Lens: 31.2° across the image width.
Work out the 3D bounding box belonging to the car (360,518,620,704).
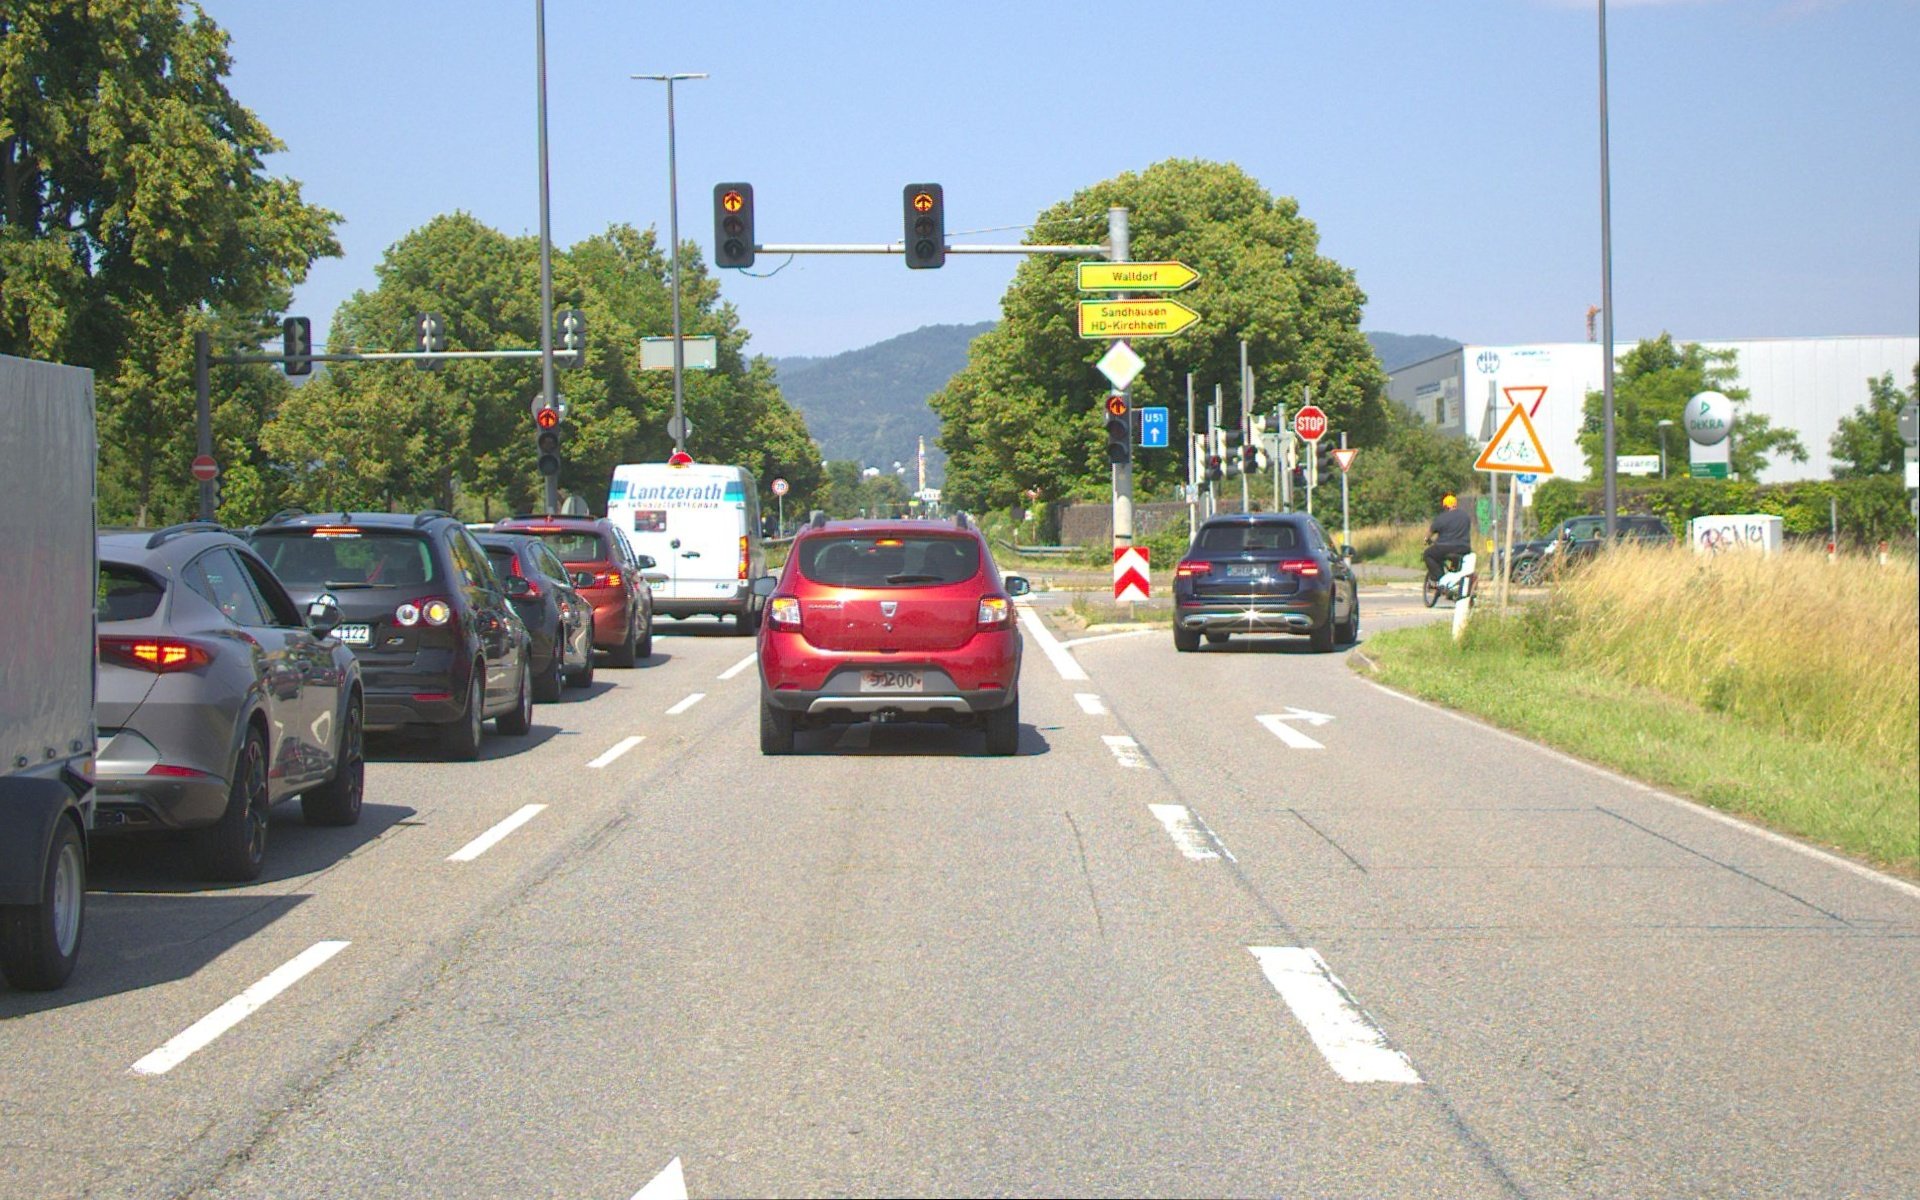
[{"bbox_3d":[-4.064,0.043,30.257,1.702,1.437,3.956,1,2,0],"label":"car"}]

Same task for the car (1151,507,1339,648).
[{"bbox_3d":[3.383,-0.310,41.526,1.993,1.611,4.339,0,1,1],"label":"car"}]

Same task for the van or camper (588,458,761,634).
[{"bbox_3d":[-3.883,-0.765,47.453,2.179,2.295,4.827,0,1,-3],"label":"van or camper"}]

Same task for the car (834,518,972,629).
[{"bbox_3d":[-0.750,-0.399,47.493,1.749,1.453,3.676,0,2,1],"label":"car"}]

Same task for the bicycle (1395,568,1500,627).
[{"bbox_3d":[8.109,-0.054,57.311,0.761,0.911,2.780,-1,1,-13],"label":"bicycle"}]

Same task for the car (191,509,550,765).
[{"bbox_3d":[-3.858,0.180,23.094,1.723,1.570,3.893,0,1,0],"label":"car"}]

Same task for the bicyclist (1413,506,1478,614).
[{"bbox_3d":[8.078,-0.669,57.252,0.802,1.765,0.809,-1,1,-13],"label":"bicyclist"}]

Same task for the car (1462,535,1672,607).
[{"bbox_3d":[12.015,-0.586,68.215,3.988,1.322,1.806,-1,1,7],"label":"car"}]

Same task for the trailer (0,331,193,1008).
[{"bbox_3d":[-3.833,0.205,11.808,1.500,2.166,4.174,0,1,-1],"label":"trailer"}]

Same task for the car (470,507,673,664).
[{"bbox_3d":[-4.128,-0.199,37.046,1.724,1.594,3.956,0,1,0],"label":"car"}]

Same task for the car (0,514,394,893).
[{"bbox_3d":[-3.820,0.361,15.827,1.745,1.498,4.363,0,1,-1],"label":"car"}]

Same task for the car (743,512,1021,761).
[{"bbox_3d":[-0.464,0.189,23.674,1.749,1.570,3.676,0,1,1],"label":"car"}]

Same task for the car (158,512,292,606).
[{"bbox_3d":[-15.148,-0.874,71.046,1.857,1.849,4.697,-1,1,-2],"label":"car"}]
